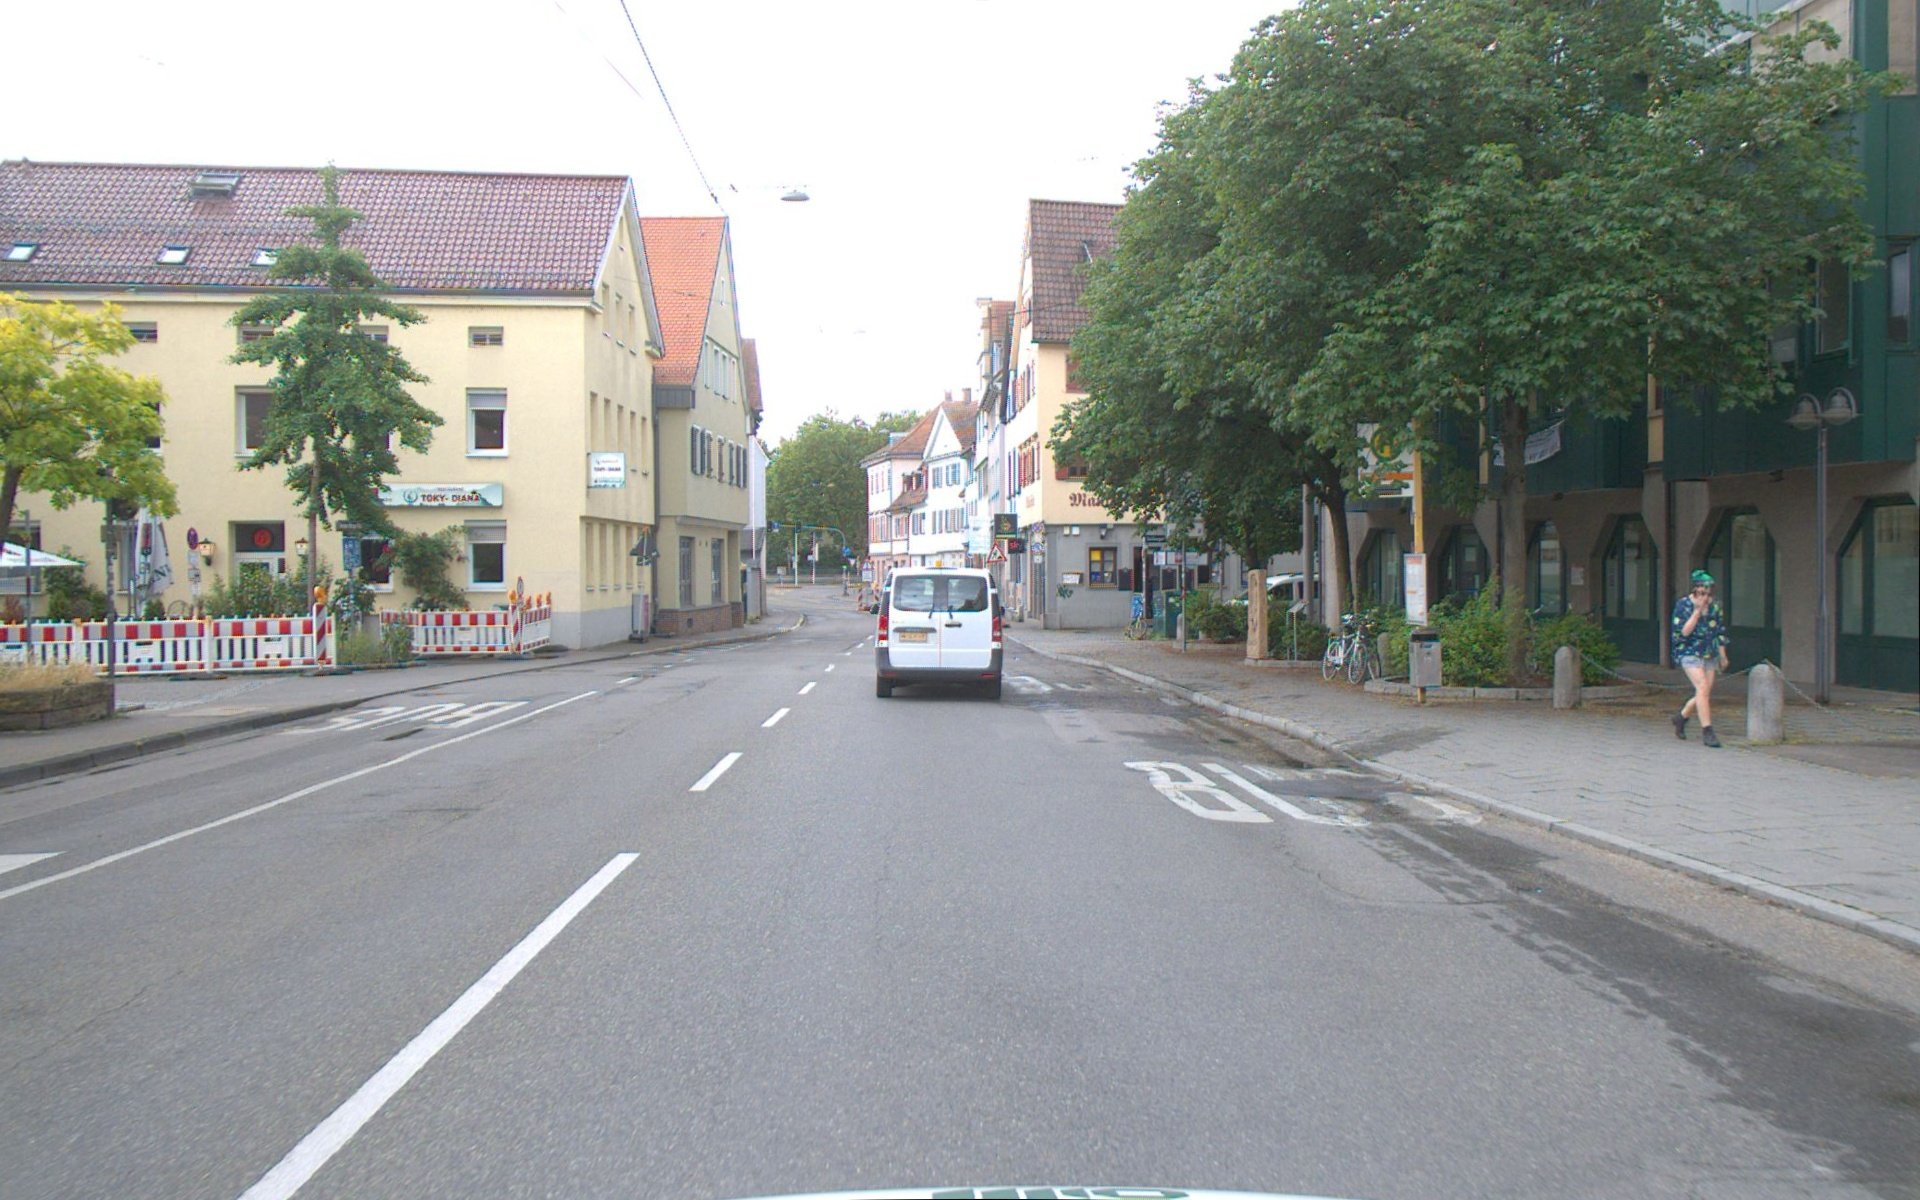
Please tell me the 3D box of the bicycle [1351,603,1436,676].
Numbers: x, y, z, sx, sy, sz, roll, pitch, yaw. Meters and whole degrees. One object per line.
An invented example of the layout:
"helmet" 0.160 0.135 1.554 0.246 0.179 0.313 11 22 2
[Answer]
"bicycle" 6.948 0.612 26.629 0.534 1.088 2.288 -1 1 -6

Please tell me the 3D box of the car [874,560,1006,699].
"car" -0.294 0.412 25.226 1.834 1.945 4.000 0 0 -1

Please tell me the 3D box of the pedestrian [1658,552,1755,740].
"pedestrian" 7.107 0.423 15.776 0.589 1.745 0.860 0 0 5

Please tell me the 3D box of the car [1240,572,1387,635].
"car" 11.180 0.084 52.423 4.165 1.828 1.844 -1 3 -11

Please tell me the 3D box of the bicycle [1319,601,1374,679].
"bicycle" 6.086 0.613 26.097 0.326 1.161 1.958 0 0 -3

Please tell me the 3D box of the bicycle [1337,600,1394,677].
"bicycle" 6.413 0.592 26.217 0.326 1.161 1.958 0 0 -3

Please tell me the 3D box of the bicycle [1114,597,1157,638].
"bicycle" 4.955 0.477 46.712 0.492 1.126 1.627 -1 1 -21

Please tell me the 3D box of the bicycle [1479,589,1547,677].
"bicycle" 8.676 0.497 26.019 0.326 1.323 1.958 0 0 -3

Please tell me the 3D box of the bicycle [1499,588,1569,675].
"bicycle" 9.077 0.480 26.212 0.326 1.323 1.958 0 0 -3

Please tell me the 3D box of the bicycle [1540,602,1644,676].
"bicycle" 9.957 0.589 26.149 0.534 1.088 2.288 -1 1 -6
